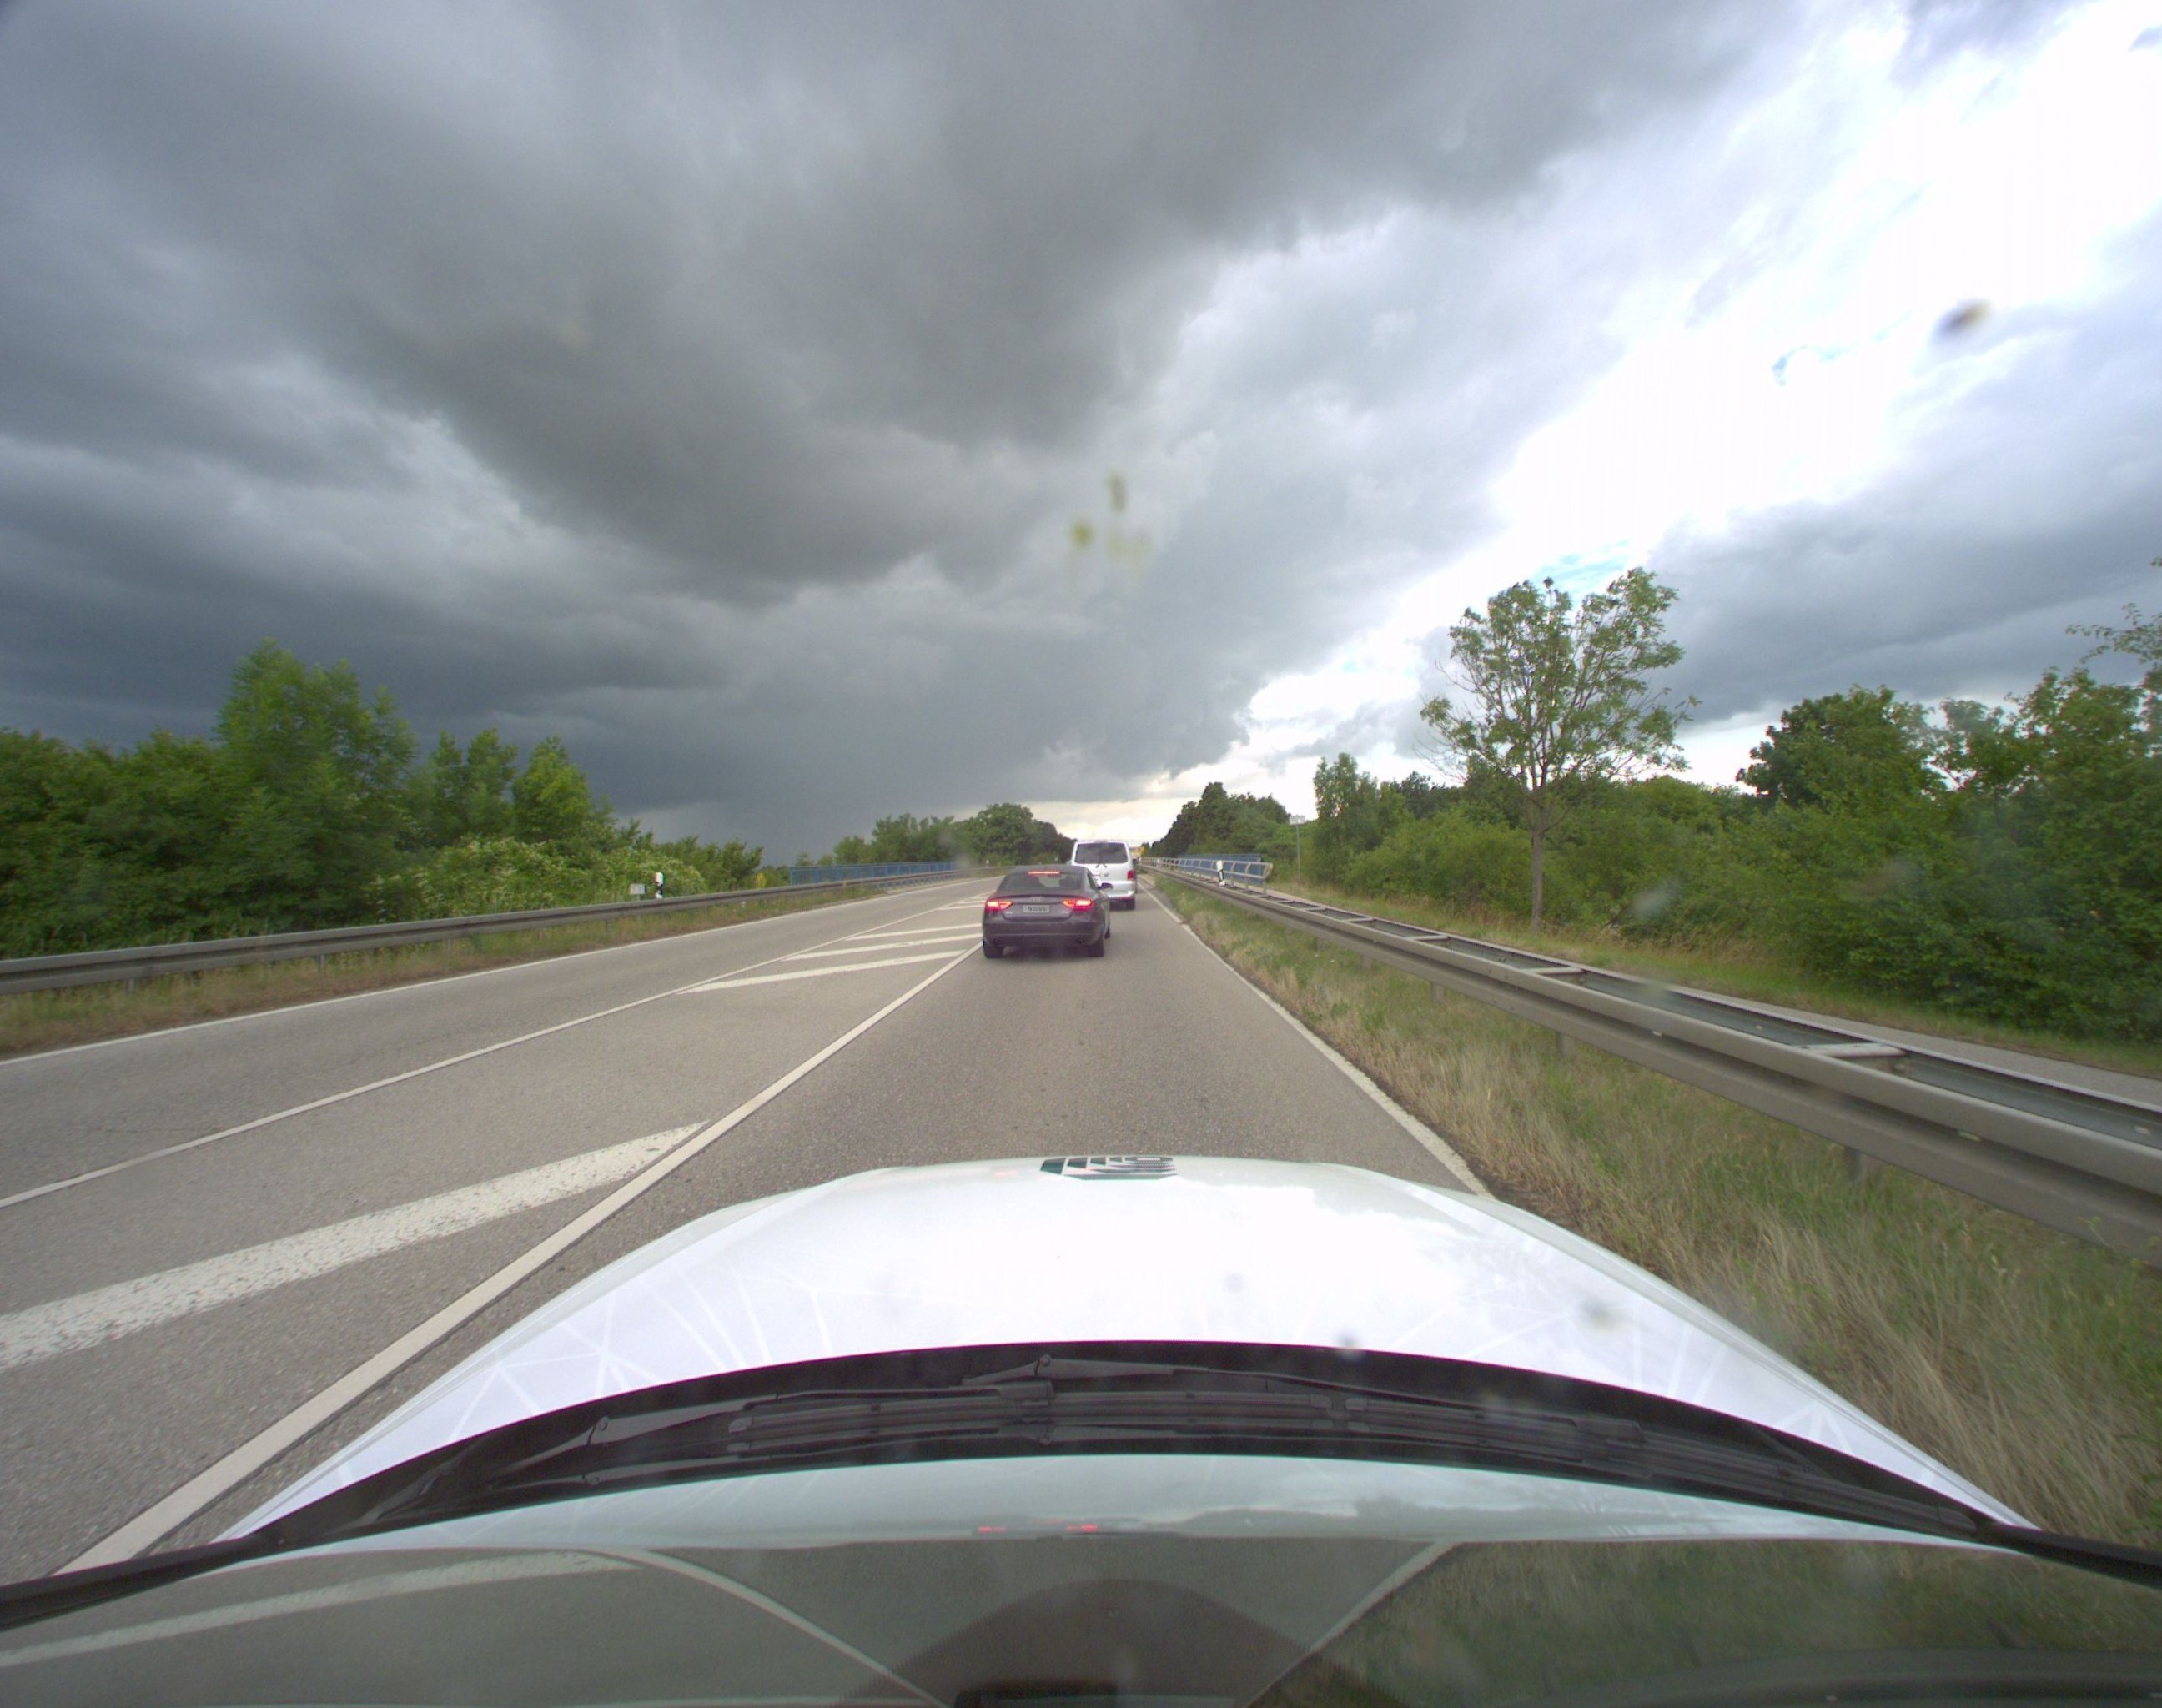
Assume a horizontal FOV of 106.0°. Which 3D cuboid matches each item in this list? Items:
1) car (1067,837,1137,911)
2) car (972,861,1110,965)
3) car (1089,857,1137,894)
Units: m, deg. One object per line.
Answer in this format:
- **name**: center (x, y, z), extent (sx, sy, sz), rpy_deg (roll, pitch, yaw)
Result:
- **car**: center (0.639, 0.550, 23.930), extent (1.821, 1.935, 4.002), rpy_deg (-2, -1, 2)
- **car**: center (-0.483, 0.834, 13.340), extent (1.814, 1.381, 4.074), rpy_deg (-2, 0, 3)
- **car**: center (1.363, 0.858, 33.505), extent (1.814, 1.381, 4.075), rpy_deg (-1, 0, 3)
